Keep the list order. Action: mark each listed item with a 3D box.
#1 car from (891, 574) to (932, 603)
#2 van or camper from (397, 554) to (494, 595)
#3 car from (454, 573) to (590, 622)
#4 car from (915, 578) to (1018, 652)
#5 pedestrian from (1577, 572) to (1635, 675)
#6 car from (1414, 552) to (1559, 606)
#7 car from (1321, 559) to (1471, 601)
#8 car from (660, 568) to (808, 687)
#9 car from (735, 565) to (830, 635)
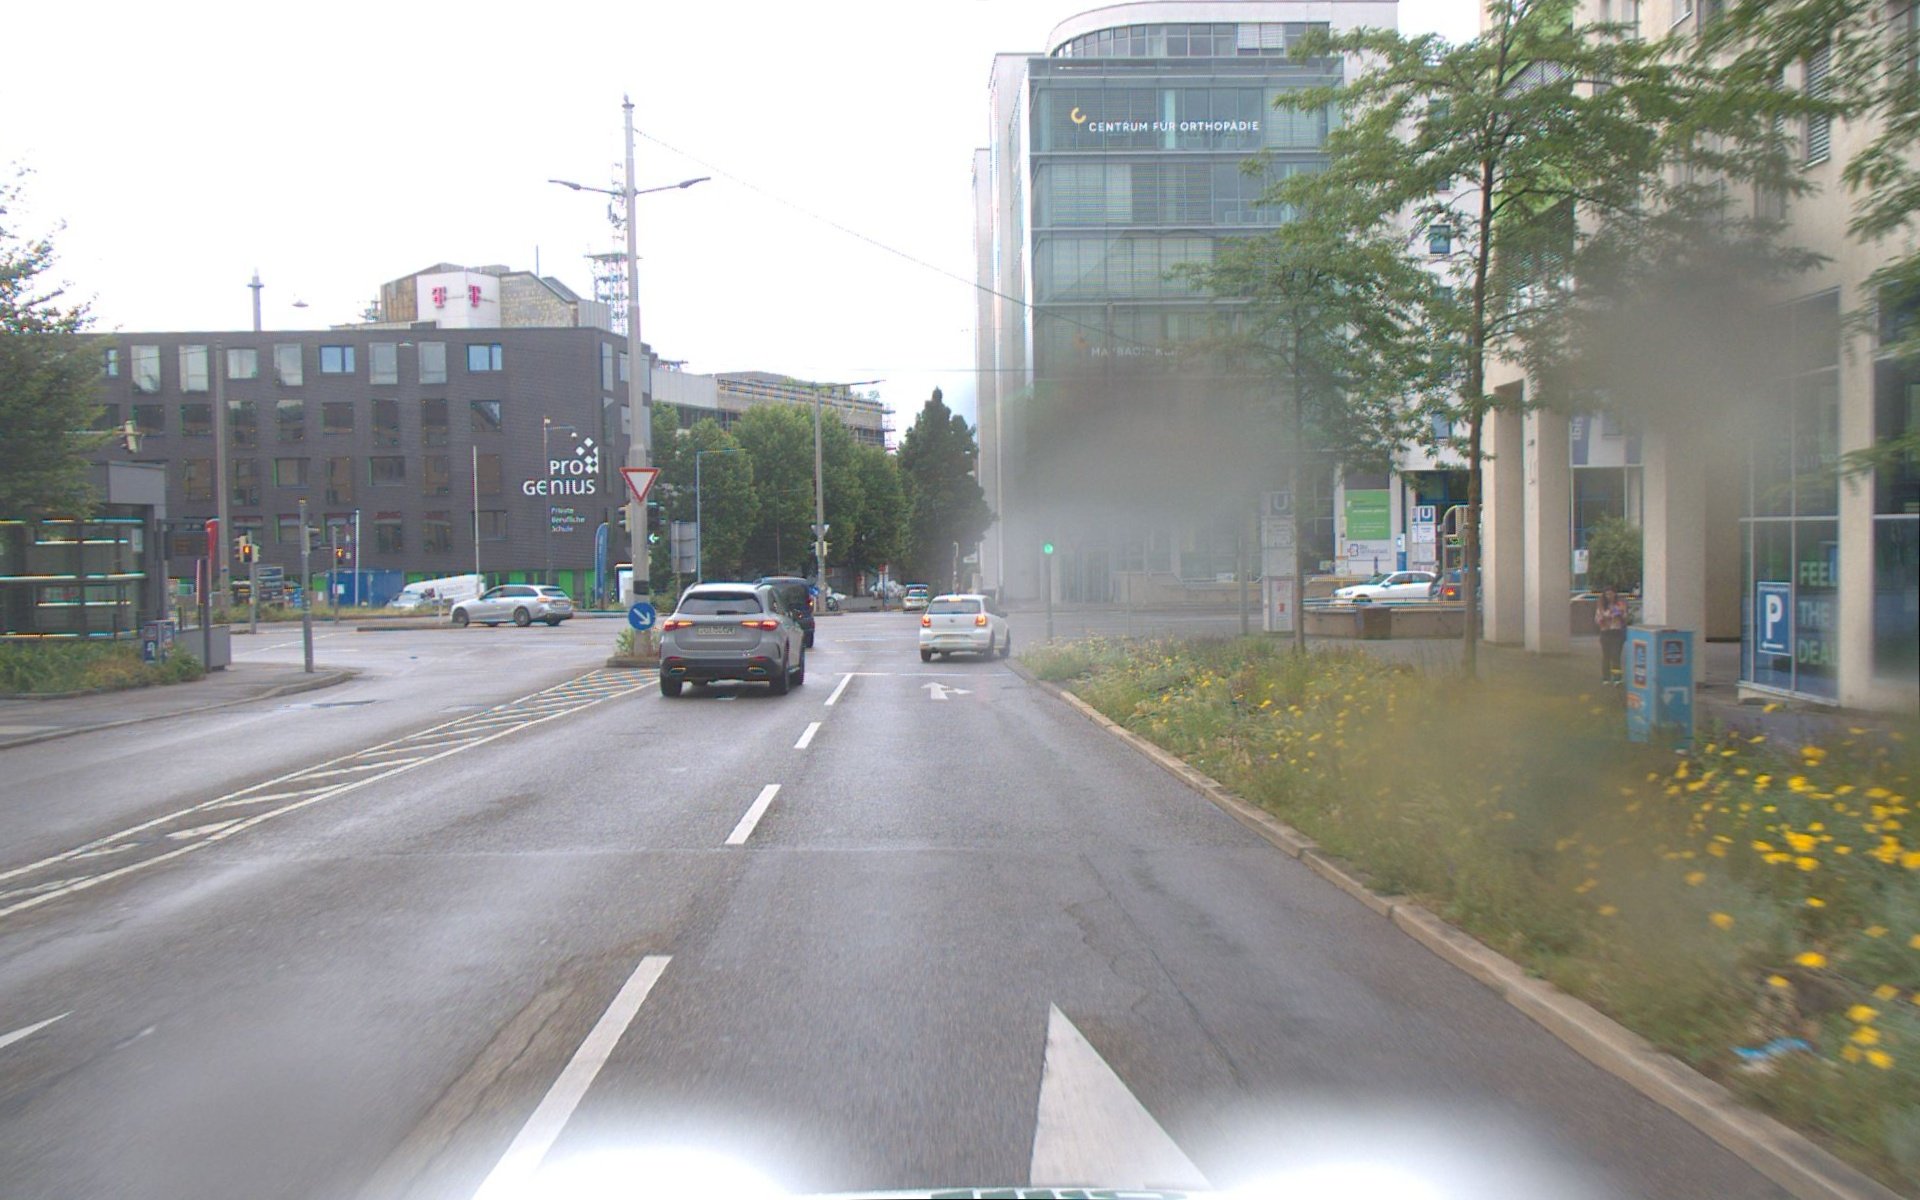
[{"bbox_3d":[-3.065,-0.729,103.834,1.958,1.747,3.988,1,0,-12],"label":"car"},{"bbox_3d":[-32.404,-1.588,104.354,5.223,2.410,2.738,1,0,-3],"label":"van or camper"},{"bbox_3d":[-15.483,-0.100,58.504,4.388,1.606,1.998,2,0,25],"label":"car"},{"bbox_3d":[0.202,0.303,38.031,1.635,1.499,3.784,0,3,11],"label":"car"},{"bbox_3d":[11.283,0.394,28.922,0.854,1.742,1.088,1,1,18],"label":"pedestrian"},{"bbox_3d":[16.555,-0.677,52.095,3.915,1.601,1.995,-1,2,-11],"label":"car"},{"bbox_3d":[15.503,-0.726,58.954,4.848,1.411,1.822,-1,2,-3],"label":"car"},{"bbox_3d":[-3.397,0.377,25.577,1.870,1.660,4.208,1,0,-3],"label":"car"},{"bbox_3d":[-4.849,-0.027,44.726,1.823,1.799,4.112,-1,1,-17],"label":"car"}]
